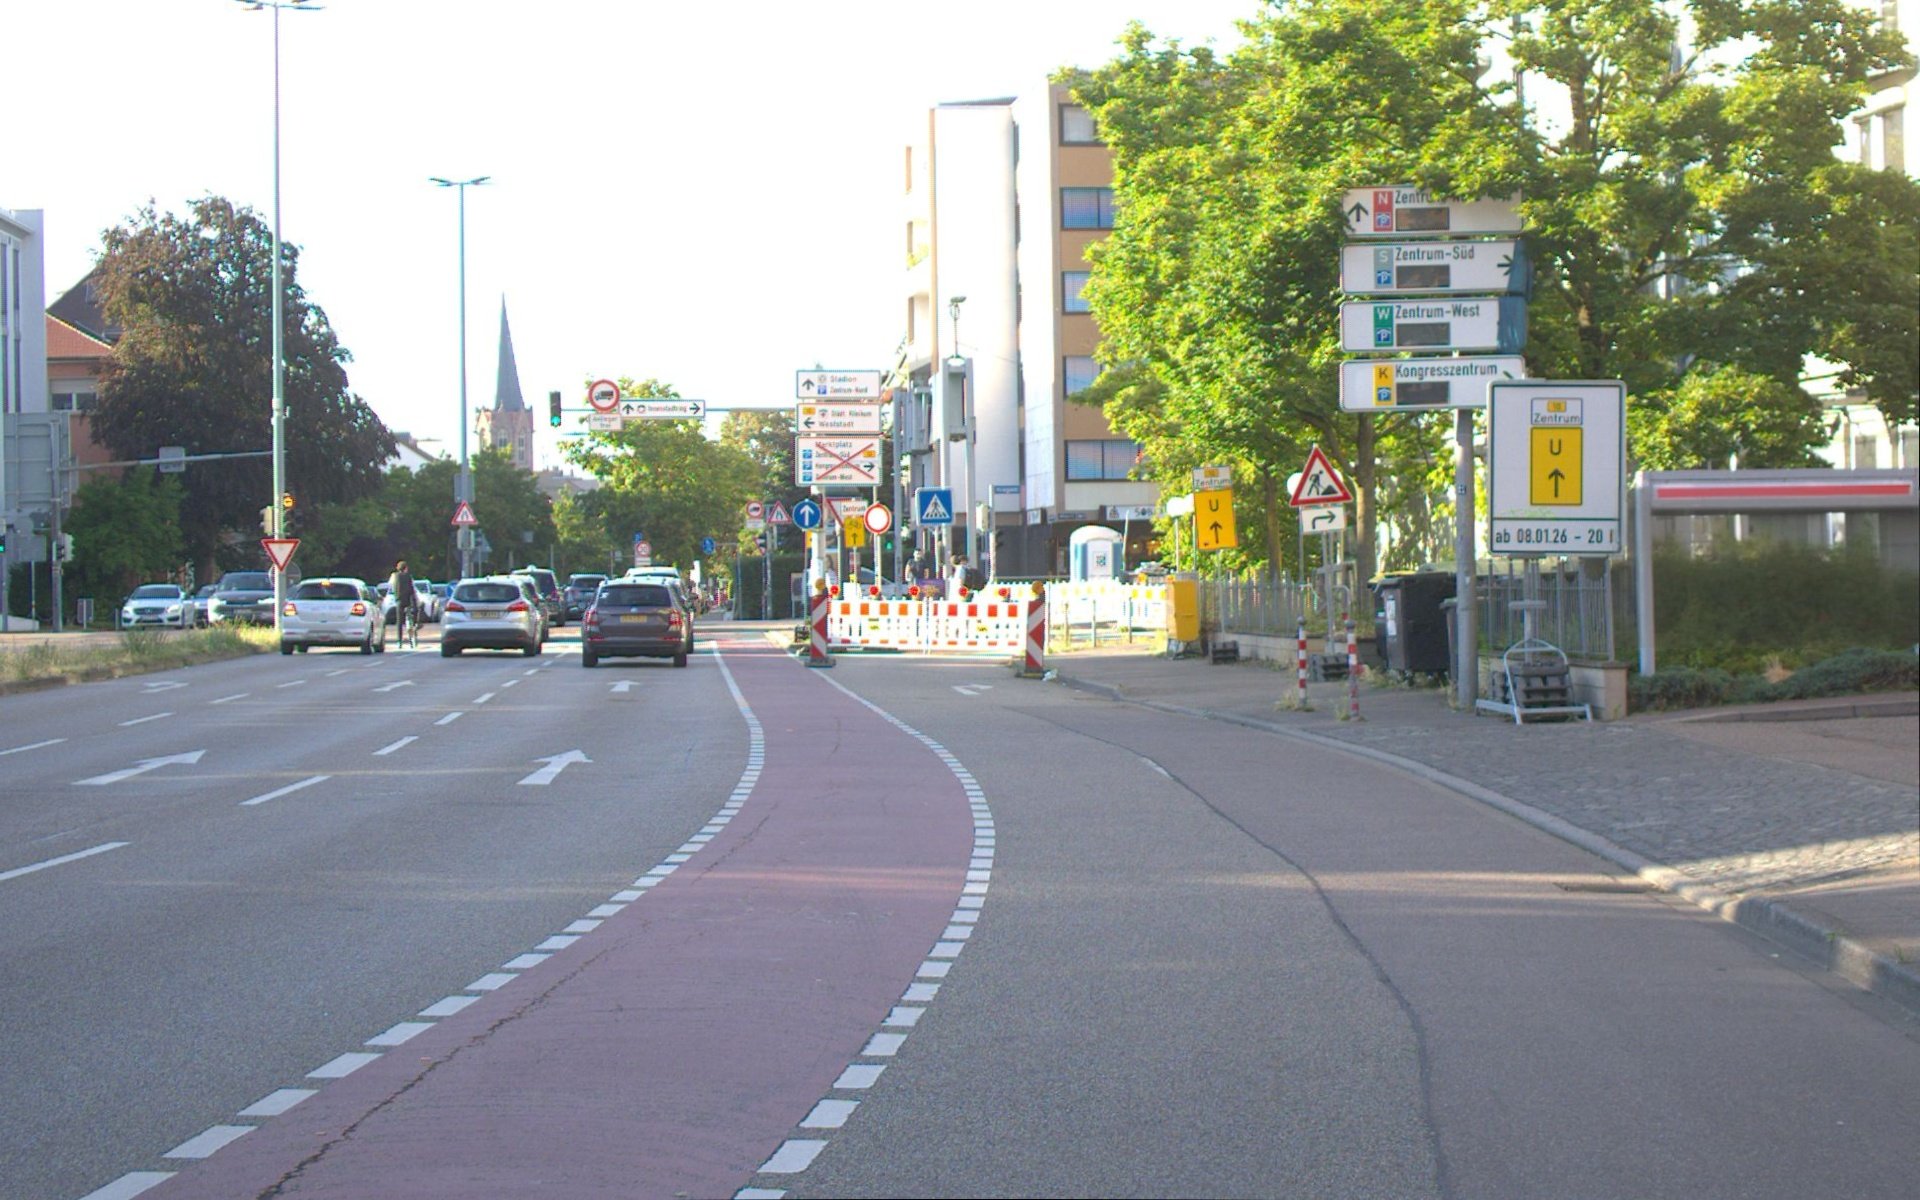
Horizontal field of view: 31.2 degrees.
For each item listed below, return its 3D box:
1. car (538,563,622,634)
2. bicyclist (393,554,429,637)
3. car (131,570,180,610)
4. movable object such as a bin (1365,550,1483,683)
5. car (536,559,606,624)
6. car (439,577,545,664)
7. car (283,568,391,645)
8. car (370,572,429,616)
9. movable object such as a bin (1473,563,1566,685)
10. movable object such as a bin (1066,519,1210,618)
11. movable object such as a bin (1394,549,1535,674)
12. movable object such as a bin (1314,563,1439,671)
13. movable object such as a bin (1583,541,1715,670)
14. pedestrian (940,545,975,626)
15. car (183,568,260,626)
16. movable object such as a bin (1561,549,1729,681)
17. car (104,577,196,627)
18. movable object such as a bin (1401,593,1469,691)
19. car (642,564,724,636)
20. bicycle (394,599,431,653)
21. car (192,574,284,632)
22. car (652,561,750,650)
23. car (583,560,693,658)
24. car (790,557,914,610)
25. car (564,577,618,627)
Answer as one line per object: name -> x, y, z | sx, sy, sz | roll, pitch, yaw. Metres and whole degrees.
car -> -8.667, -0.052, 78.679 | 1.748, 1.559, 4.050 | -1, 1, -4
bicyclist -> -11.598, -0.102, 72.669 | 0.690, 1.722, 0.988 | -1, 0, -8
car -> -33.199, -0.420, 141.914 | 1.840, 1.566, 4.001 | -1, 0, -12
movable object such as a bin -> 5.436, 0.201, 40.333 | 1.092, 1.503, 1.254 | -1, -2, -5
car -> -10.286, -0.234, 91.024 | 1.664, 1.652, 4.001 | -1, 0, -4
car -> -8.907, 0.366, 65.696 | 1.748, 1.559, 4.050 | -1, 1, -4
car -> -12.235, 0.104, 67.714 | 1.684, 1.452, 4.001 | 0, 1, -4
car -> -19.176, -0.215, 117.691 | 1.847, 1.456, 4.051 | -1, 1, -8
movable object such as a bin -> 6.114, 0.254, 37.609 | 0.777, 1.304, 0.865 | -1, 0, -6
movable object such as a bin -> 4.399, -0.769, 85.084 | 3.327, 2.375, 1.529 | -1, 0, -6
movable object such as a bin -> 6.177, 0.133, 42.156 | 1.326, 1.480, 1.211 | -1, 0, -14
movable object such as a bin -> 5.323, 0.210, 43.977 | 1.213, 1.339, 1.055 | -1, 0, -20
movable object such as a bin -> 8.056, 0.052, 40.260 | 1.195, 1.416, 1.279 | -2, 2, -2
pedestrian -> -0.060, -0.320, 77.045 | 0.741, 1.793, 0.715 | -1, 0, -2
car -> -25.129, -0.088, 117.140 | 1.841, 1.810, 4.000 | -2, -1, -2
movable object such as a bin -> 7.510, 0.155, 37.745 | 1.607, 1.405, 0.865 | -1, 0, -6
car -> -24.568, 0.035, 104.408 | 1.993, 1.408, 4.444 | -2, 1, -4
movable object such as a bin -> 5.173, 0.456, 37.443 | 0.619, 1.042, 0.616 | -1, 0, -2
car -> -6.574, -0.021, 81.251 | 1.819, 1.634, 4.001 | -1, 1, -6
bicycle -> -11.587, 0.545, 72.760 | 0.699, 1.096, 2.258 | -1, 0, -8
car -> -20.229, 0.066, 96.448 | 1.993, 1.573, 4.900 | -1, 0, -6
car -> -5.065, 0.126, 67.512 | 1.728, 1.596, 3.723 | -2, -1, -2
car -> -5.374, 0.127, 57.738 | 1.748, 1.559, 4.050 | -1, 1, -4
car -> -3.993, -0.606, 126.629 | 4.363, 1.871, 2.000 | -1, 0, -6
car -> -12.520, 0.062, 116.848 | 1.664, 1.652, 4.001 | -1, 0, -4
